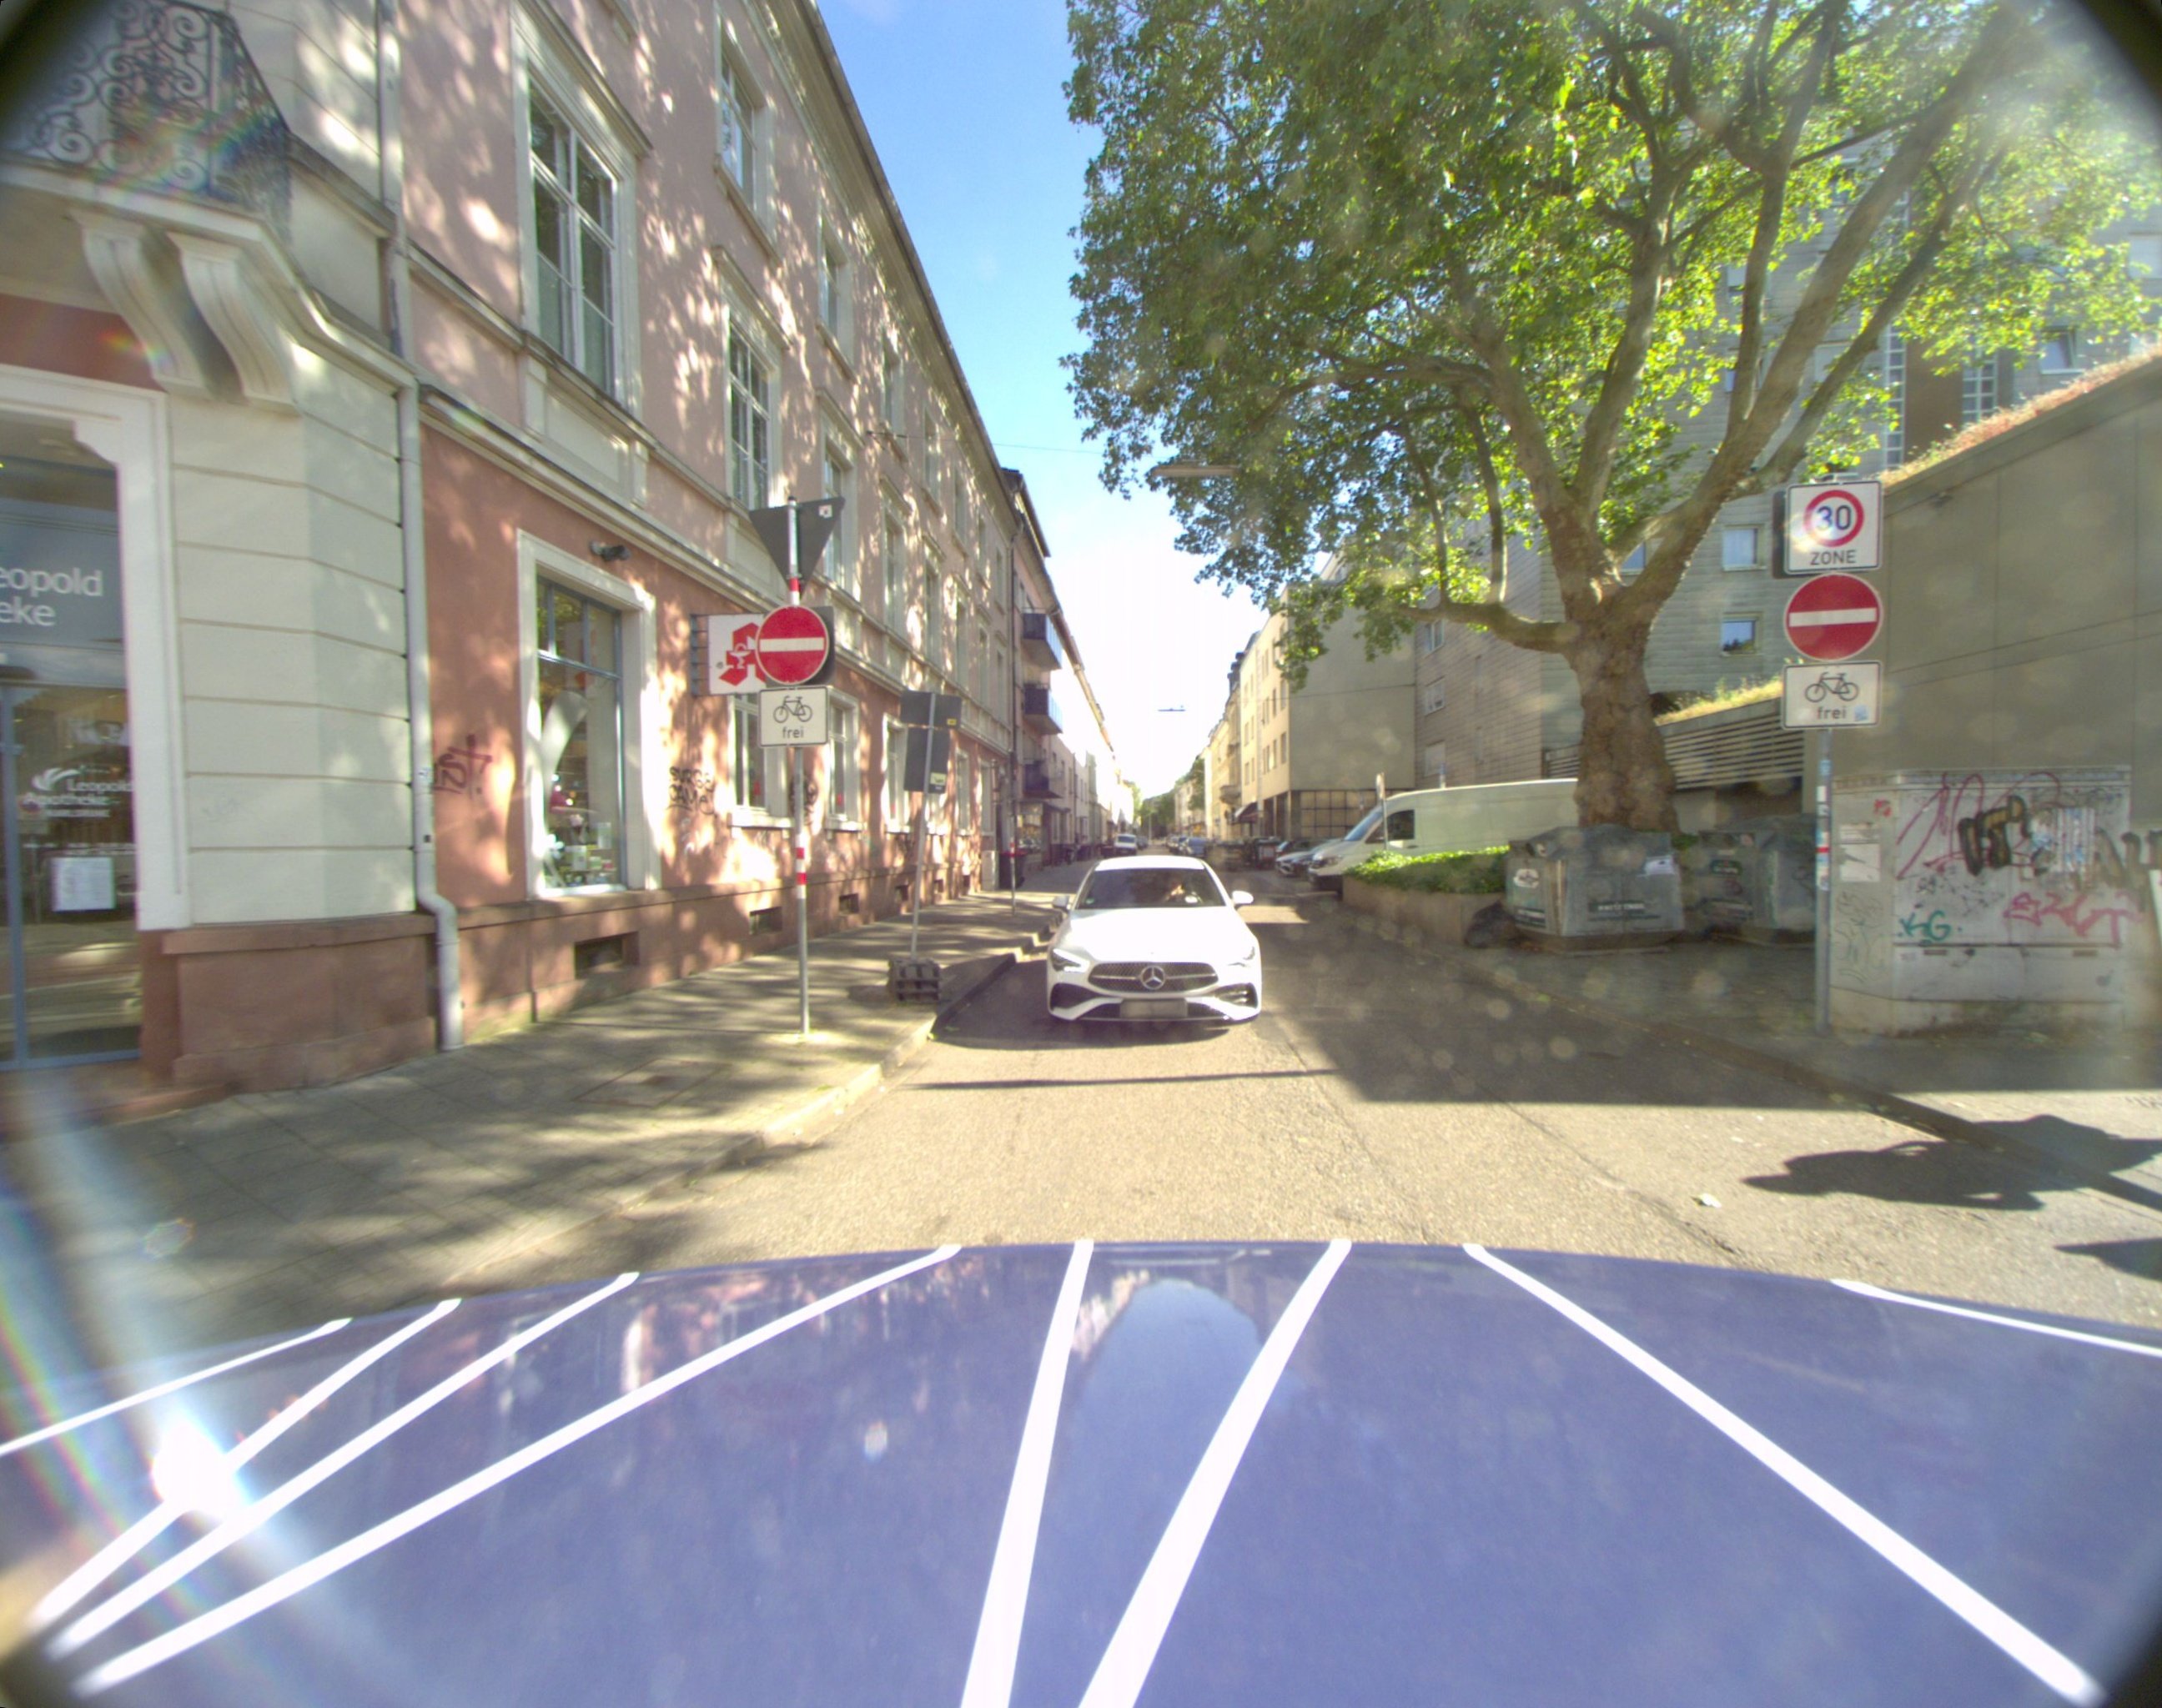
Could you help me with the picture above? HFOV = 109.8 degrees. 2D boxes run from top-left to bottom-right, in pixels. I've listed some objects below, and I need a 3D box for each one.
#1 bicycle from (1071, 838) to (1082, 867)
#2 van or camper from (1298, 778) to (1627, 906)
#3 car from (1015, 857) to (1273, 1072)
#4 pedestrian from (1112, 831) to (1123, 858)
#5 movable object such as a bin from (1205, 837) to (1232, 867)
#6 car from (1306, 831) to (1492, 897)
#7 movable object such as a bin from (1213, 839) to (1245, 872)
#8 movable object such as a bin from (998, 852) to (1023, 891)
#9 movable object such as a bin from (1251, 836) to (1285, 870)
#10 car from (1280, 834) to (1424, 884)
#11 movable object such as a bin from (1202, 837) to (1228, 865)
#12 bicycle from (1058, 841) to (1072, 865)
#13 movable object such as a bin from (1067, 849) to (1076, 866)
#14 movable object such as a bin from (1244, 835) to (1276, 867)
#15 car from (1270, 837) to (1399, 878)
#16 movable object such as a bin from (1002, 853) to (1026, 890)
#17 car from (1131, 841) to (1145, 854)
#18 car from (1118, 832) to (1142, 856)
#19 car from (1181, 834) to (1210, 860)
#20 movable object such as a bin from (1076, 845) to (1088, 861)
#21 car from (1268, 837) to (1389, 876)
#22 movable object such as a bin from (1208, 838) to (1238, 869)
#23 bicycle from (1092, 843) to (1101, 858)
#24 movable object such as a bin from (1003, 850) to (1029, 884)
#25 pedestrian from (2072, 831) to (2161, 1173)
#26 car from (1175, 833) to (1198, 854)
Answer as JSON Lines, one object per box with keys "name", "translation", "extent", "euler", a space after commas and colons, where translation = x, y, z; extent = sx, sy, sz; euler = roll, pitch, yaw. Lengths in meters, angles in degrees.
{"name": "bicycle", "translation": [-0.253, -0.098, 46.206], "extent": [0.402, 1.726, 2.107], "euler": [0, 2, 6]}
{"name": "van or camper", "translation": [9.176, -0.265, 18.864], "extent": [6.919, 2.559, 2.001], "euler": [-4, 1, 6]}
{"name": "car", "translation": [0.704, 0.849, 7.957], "extent": [1.861, 1.449, 4.564], "euler": [-2, 1, 6]}
{"name": "pedestrian", "translation": [2.709, -0.692, 56.656], "extent": [0.760, 2.002, 0.771], "euler": [0, 2, 6]}
{"name": "movable object such as a bin", "translation": [7.141, -0.117, 39.623], "extent": [1.221, 1.492, 1.560], "euler": [-1, 2, 3]}
{"name": "car", "translation": [8.699, 0.256, 21.092], "extent": [4.413, 1.525, 1.699], "euler": [-3, 1, 5]}
{"name": "movable object such as a bin", "translation": [6.947, 0.031, 35.679], "extent": [1.241, 1.492, 1.877], "euler": [-1, 2, 4]}
{"name": "movable object such as a bin", "translation": [-2.041, 0.497, 22.018], "extent": [0.570, 1.078, 0.654], "euler": [2, 2, 4]}
{"name": "movable object such as a bin", "translation": [8.599, -0.055, 34.961], "extent": [1.328, 1.492, 1.195], "euler": [-1, 2, 3]}
{"name": "car", "translation": [9.419, 0.148, 26.606], "extent": [4.415, 1.607, 1.698], "euler": [-1, 2, 0]}
{"name": "movable object such as a bin", "translation": [7.254, -0.179, 41.332], "extent": [1.221, 1.492, 1.560], "euler": [-1, 2, 3]}
{"name": "bicycle", "translation": [-0.795, -0.064, 38.457], "extent": [0.402, 1.144, 2.025], "euler": [0, 1, 6]}
{"name": "movable object such as a bin", "translation": [-0.510, 0.191, 40.909], "extent": [0.416, 0.935, 0.302], "euler": [2, 2, 4]}
{"name": "movable object such as a bin", "translation": [8.566, -0.162, 36.432], "extent": [1.221, 1.492, 1.517], "euler": [-1, 2, 3]}
{"name": "car", "translation": [9.674, 0.124, 29.204], "extent": [4.415, 1.454, 1.599], "euler": [-1, 1, 0]}
{"name": "movable object such as a bin", "translation": [-1.993, 0.521, 22.649], "extent": [0.570, 1.052, 0.612], "euler": [2, 2, 4]}
{"name": "car", "translation": [7.543, -0.853, 100.050], "extent": [1.764, 1.698, 4.328], "euler": [-1, 1, 5]}
{"name": "car", "translation": [4.007, -0.855, 61.859], "extent": [1.764, 1.843, 4.329], "euler": [-1, 1, 6]}
{"name": "car", "translation": [7.790, -0.523, 51.893], "extent": [1.764, 1.699, 4.329], "euler": [-1, 1, 6]}
{"name": "movable object such as a bin", "translation": [0.065, -0.049, 48.517], "extent": [0.716, 0.997, 0.546], "euler": [2, 2, 4]}
{"name": "car", "translation": [10.179, 0.084, 31.442], "extent": [4.415, 1.524, 1.698], "euler": [-1, 1, 0]}
{"name": "movable object such as a bin", "translation": [7.014, -0.045, 37.685], "extent": [1.246, 1.492, 1.925], "euler": [-1, 2, 4]}
{"name": "bicycle", "translation": [1.170, -0.264, 55.928], "extent": [0.489, 1.090, 1.933], "euler": [0, 1, 6]}
{"name": "movable object such as a bin", "translation": [-2.120, 0.418, 24.683], "extent": [0.717, 1.078, 0.618], "euler": [2, 2, 4]}
{"name": "pedestrian", "translation": [5.379, 0.679, 3.387], "extent": [0.845, 1.564, 0.847], "euler": [-3, 1, 23]}
{"name": "car", "translation": [8.786, -0.866, 63.291], "extent": [1.764, 1.698, 4.329], "euler": [-1, 1, 6]}
